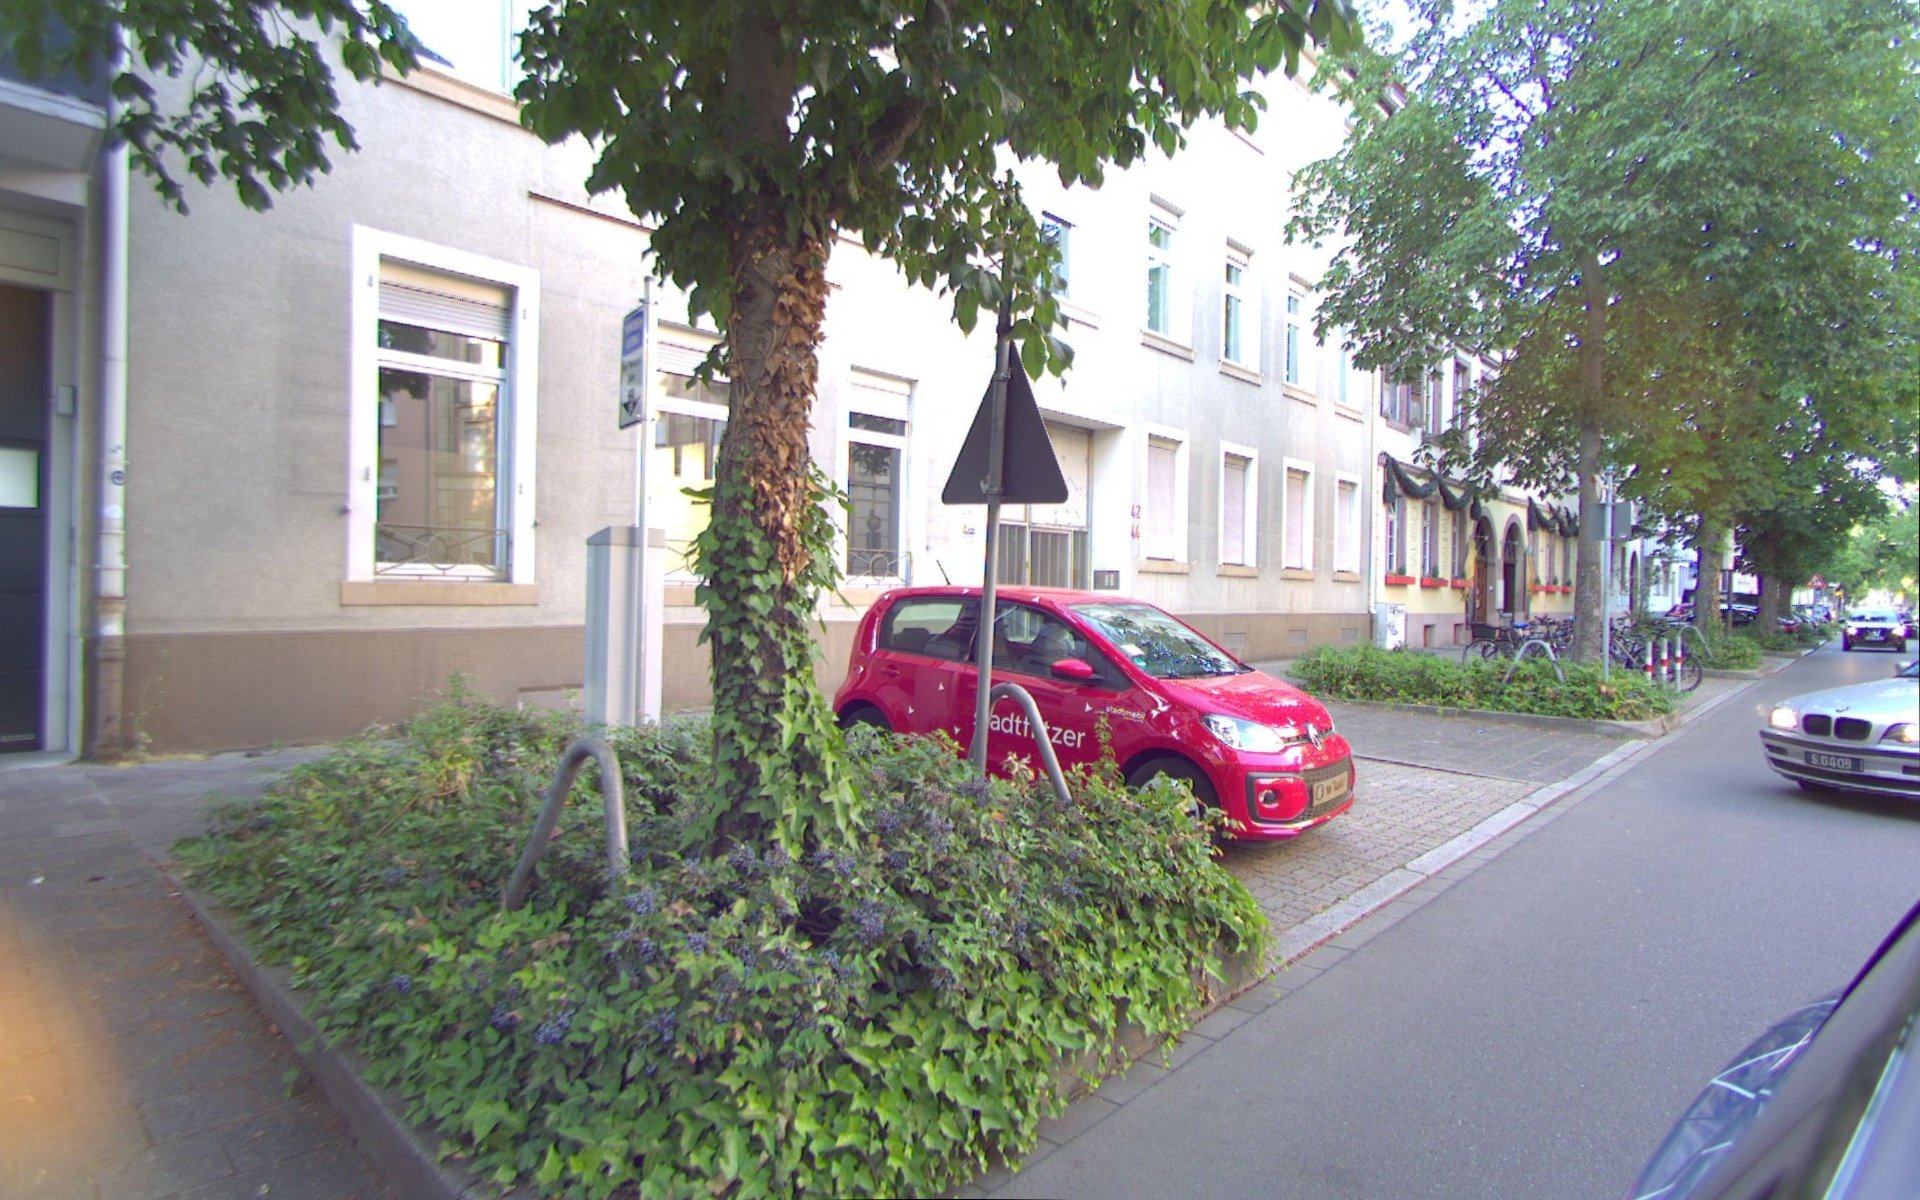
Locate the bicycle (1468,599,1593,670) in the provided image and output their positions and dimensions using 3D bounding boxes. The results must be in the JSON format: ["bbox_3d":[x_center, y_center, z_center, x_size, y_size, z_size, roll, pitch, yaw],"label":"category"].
[{"bbox_3d":[10.930,0.633,19.425,2.017,1.242,0.529,2,1,37],"label":"bicycle"}]

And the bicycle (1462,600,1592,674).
[{"bbox_3d":[10.299,0.645,18.431,2.014,1.242,0.529,2,1,33],"label":"bicycle"}]

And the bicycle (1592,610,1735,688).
[{"bbox_3d":[12.354,0.827,17.818,2.019,1.242,0.528,2,1,39],"label":"bicycle"}]

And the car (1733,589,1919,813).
[{"bbox_3d":[8.413,0.683,7.362,4.348,1.460,1.714,1,1,-4],"label":"car"}]

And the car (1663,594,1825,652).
[{"bbox_3d":[26.614,0.724,34.450,4.232,1.761,1.715,2,1,43],"label":"car"}]

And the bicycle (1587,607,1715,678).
[{"bbox_3d":[13.470,0.803,19.765,2.019,1.242,0.528,2,1,39],"label":"bicycle"}]

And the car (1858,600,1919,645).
[{"bbox_3d":[34.654,0.793,37.518,1.802,1.571,3.935,2,1,45],"label":"car"}]

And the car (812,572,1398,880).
[{"bbox_3d":[0.801,0.585,6.807,3.608,1.495,1.639,2,1,42],"label":"car"}]

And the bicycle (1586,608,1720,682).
[{"bbox_3d":[12.990,0.813,19.011,2.019,1.242,0.528,2,1,39],"label":"bicycle"}]

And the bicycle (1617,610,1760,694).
[{"bbox_3d":[11.852,0.826,16.532,1.835,1.242,0.529,2,1,33],"label":"bicycle"}]

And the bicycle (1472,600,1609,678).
[{"bbox_3d":[10.083,0.654,17.621,2.014,1.242,0.529,2,1,33],"label":"bicycle"}]
